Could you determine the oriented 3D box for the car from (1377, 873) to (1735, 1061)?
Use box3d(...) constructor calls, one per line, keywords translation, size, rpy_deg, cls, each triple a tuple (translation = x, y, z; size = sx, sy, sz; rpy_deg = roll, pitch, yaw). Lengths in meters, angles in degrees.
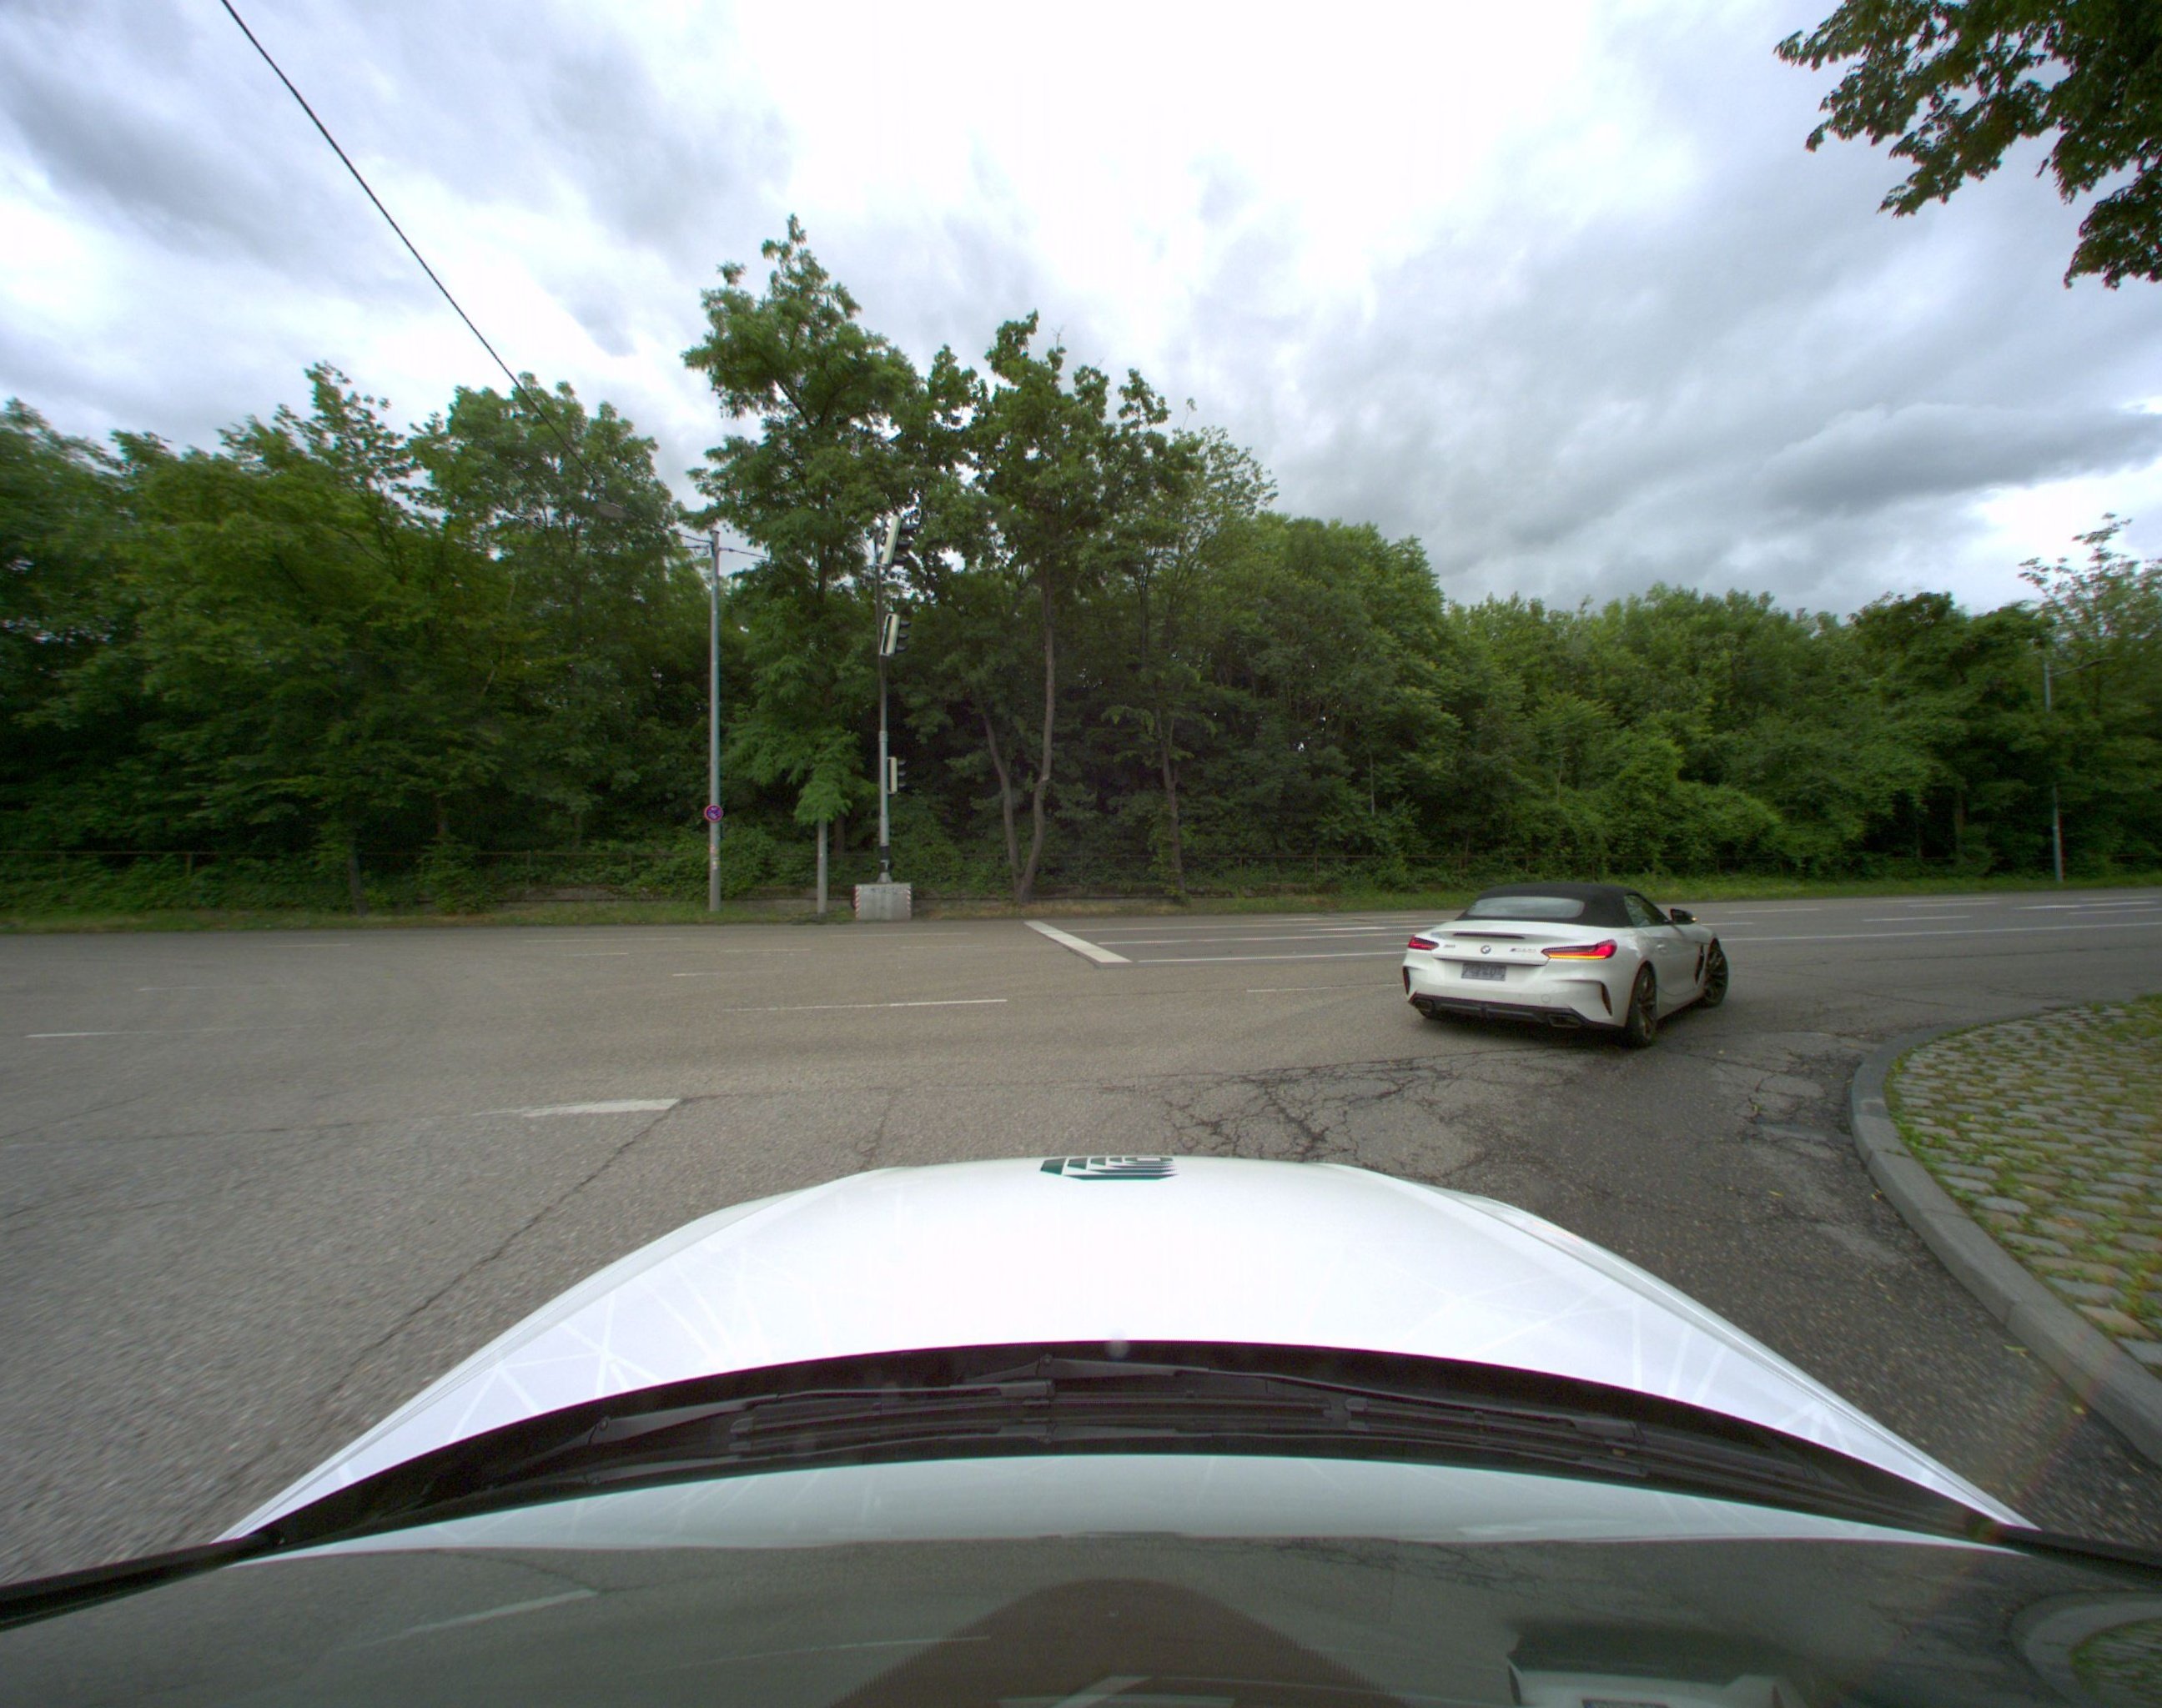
box3d(translation=(4.743, 0.878, 7.916), size=(3.893, 1.309, 1.858), rpy_deg=(0, -2, -42), cls="car")
